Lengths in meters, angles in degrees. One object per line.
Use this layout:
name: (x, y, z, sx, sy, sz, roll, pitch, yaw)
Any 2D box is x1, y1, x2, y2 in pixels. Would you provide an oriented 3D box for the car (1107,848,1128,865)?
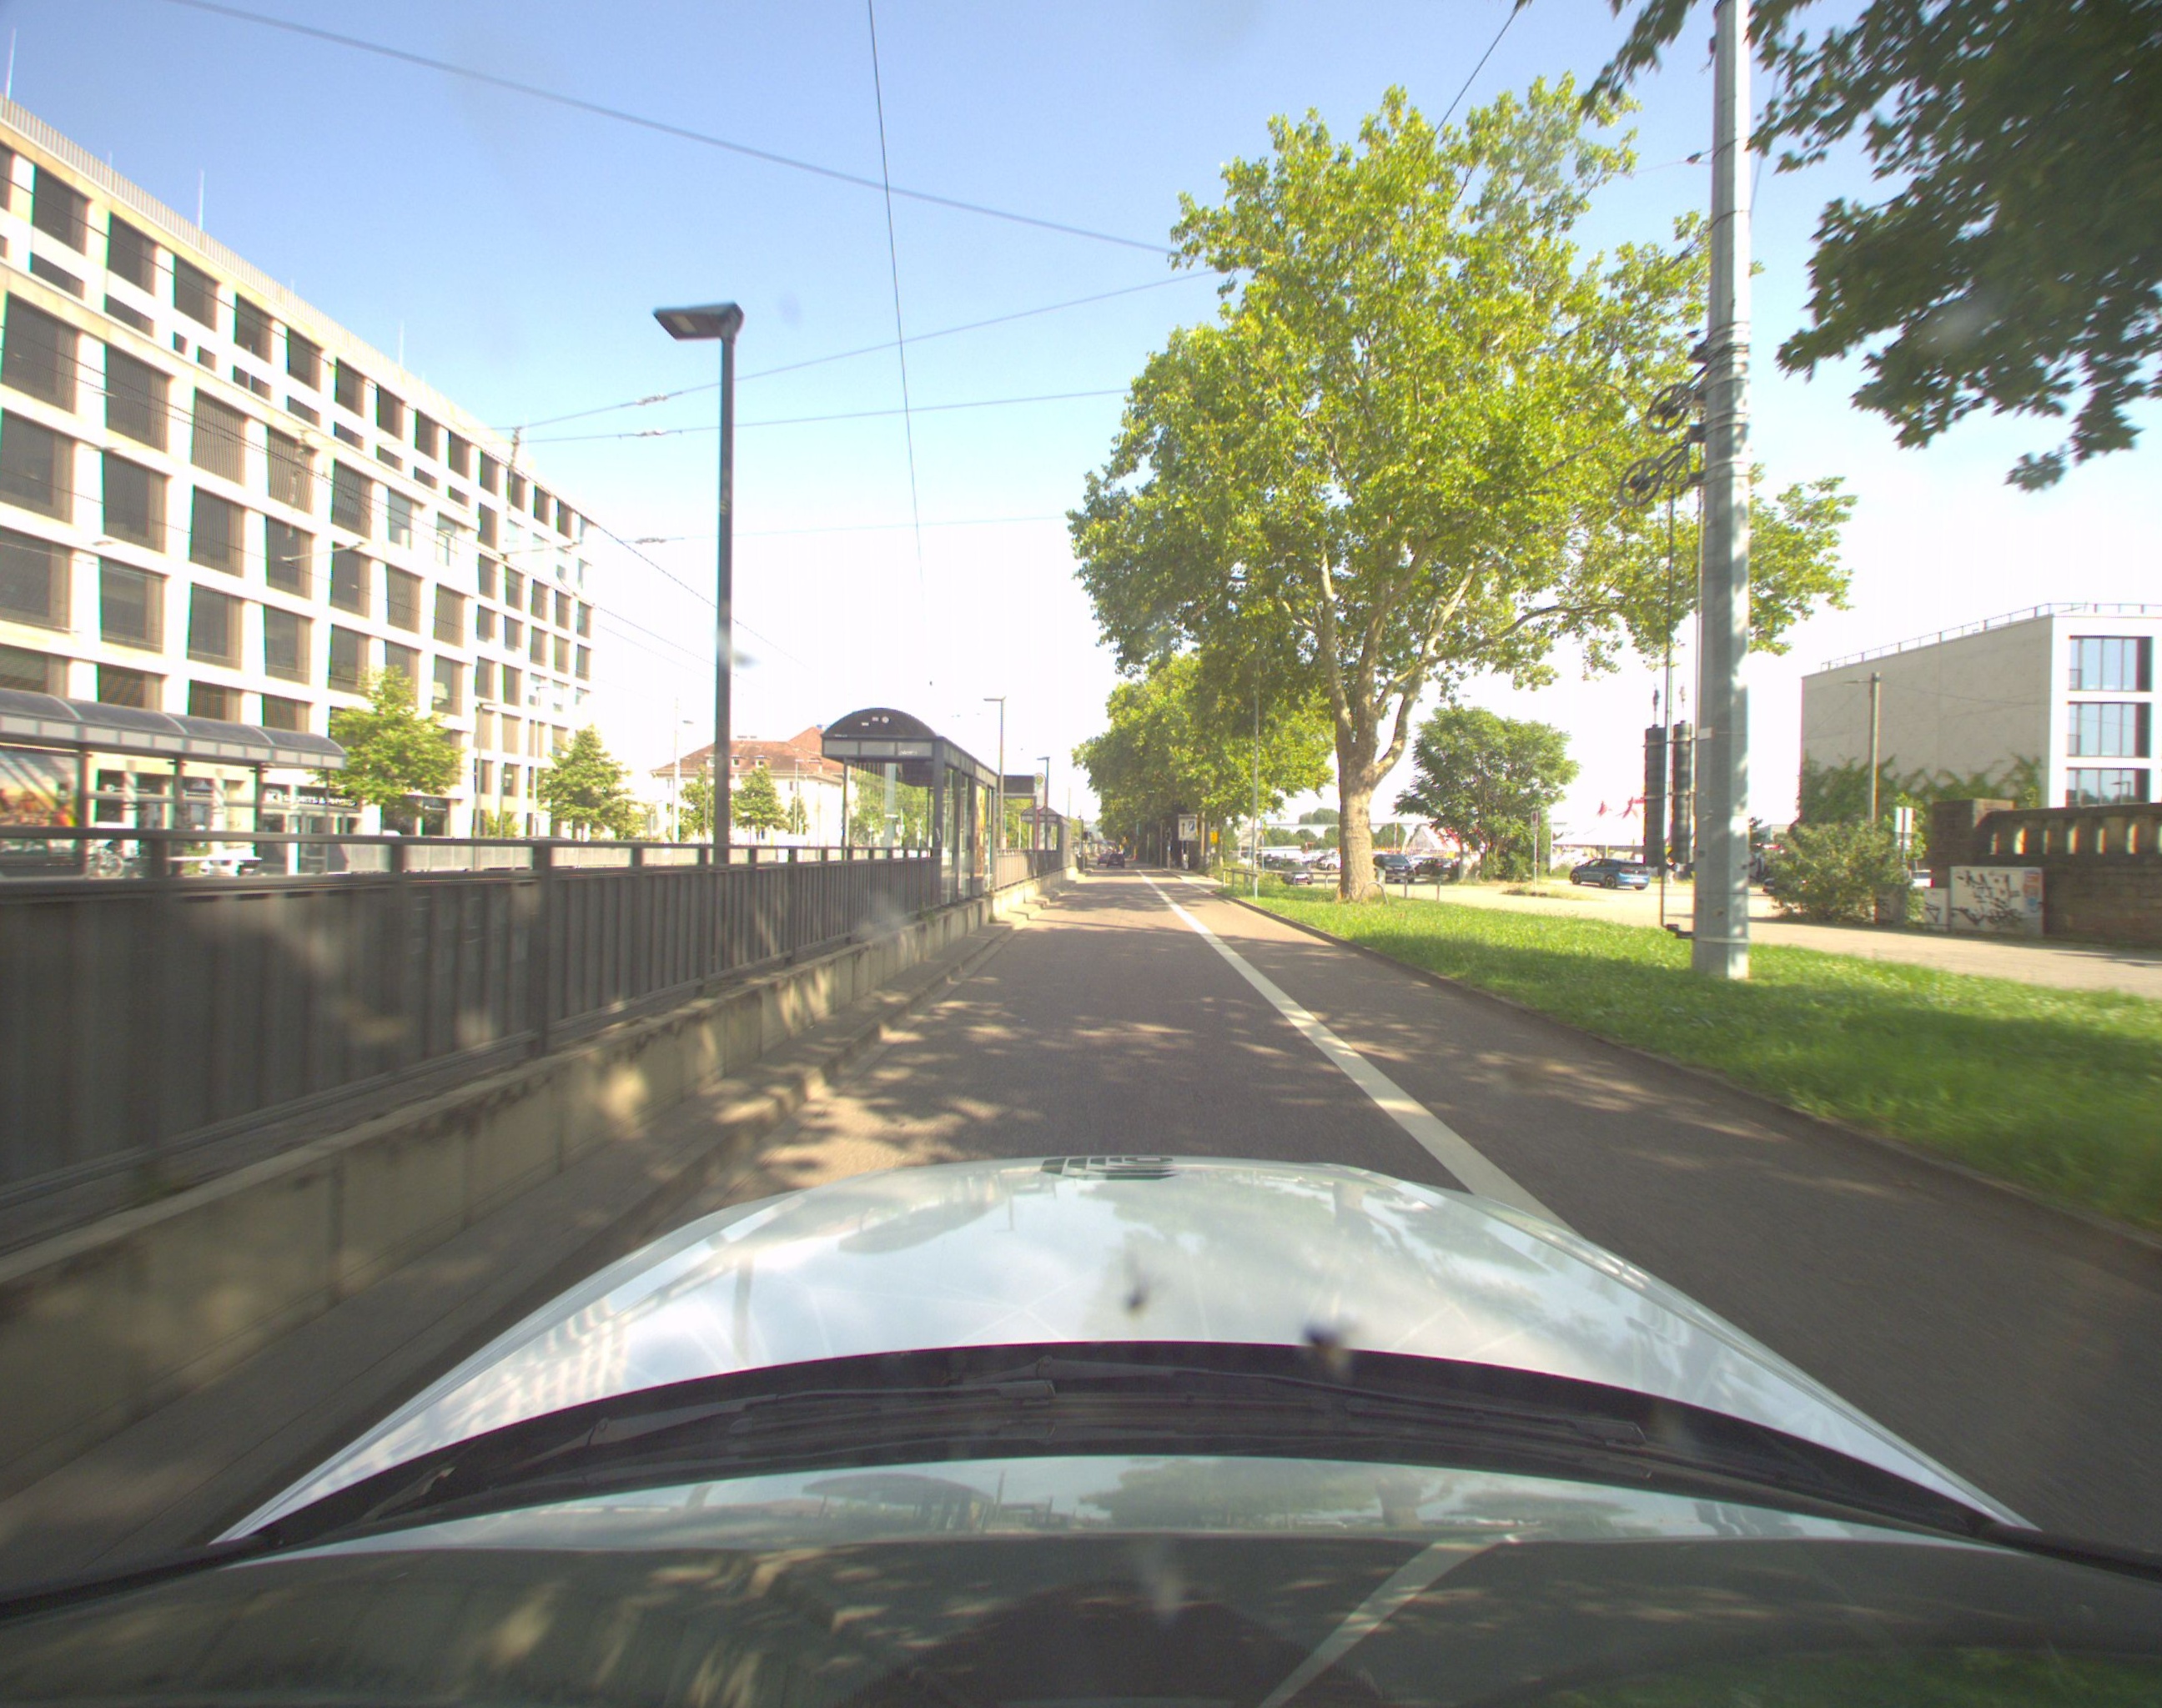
car: (3.525, 0.218, 79.727, 1.900, 1.537, 4.001, -1, 0, 1)

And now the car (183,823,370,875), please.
car: (-24.337, -0.153, 24.871, 1.705, 1.446, 4.008, 0, 0, 0)

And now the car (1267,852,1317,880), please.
car: (11.542, 0.612, 44.778, 1.721, 1.448, 4.553, 0, 1, 2)

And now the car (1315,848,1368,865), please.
car: (24.414, 0.220, 76.431, 4.330, 1.464, 1.947, 2, 0, 0)

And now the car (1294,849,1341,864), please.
car: (24.713, 0.255, 85.129, 4.330, 1.464, 1.947, 2, 0, 0)

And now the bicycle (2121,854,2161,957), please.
bicycle: (14.628, 0.625, 10.061, 2.236, 1.277, 0.999, -1, -1, 1)

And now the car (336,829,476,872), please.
car: (-24.395, -0.144, 29.626, 1.705, 1.446, 4.008, 0, 0, 0)

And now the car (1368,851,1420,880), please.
car: (17.478, 0.609, 45.668, 1.601, 1.575, 3.798, 0, 1, 2)

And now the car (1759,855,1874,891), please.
car: (34.211, 0.877, 37.934, 3.772, 1.485, 1.747, 2, 1, 0)

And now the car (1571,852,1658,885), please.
car: (27.545, 0.711, 42.217, 1.700, 1.575, 3.952, 2, 1, -4)

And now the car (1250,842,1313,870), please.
car: (14.260, 0.108, 58.085, 4.084, 1.918, 1.850, -1, 0, 4)

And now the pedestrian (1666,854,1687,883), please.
pedestrian: (33.586, 0.810, 45.918, 0.920, 1.643, 0.706, -1, -1, 35)

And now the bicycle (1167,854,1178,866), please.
bicycle: (8.240, 0.510, 73.696, 0.608, 1.022, 2.401, 1, 0, -2)

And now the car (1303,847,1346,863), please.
car: (27.964, 0.101, 93.712, 4.330, 1.712, 1.947, 2, 0, 0)

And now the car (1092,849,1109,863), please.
car: (2.414, 0.245, 99.319, 1.966, 1.537, 4.001, -3, 0, 1)

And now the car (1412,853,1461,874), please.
car: (25.365, 0.655, 58.201, 1.807, 1.395, 4.118, 1, 1, 1)
